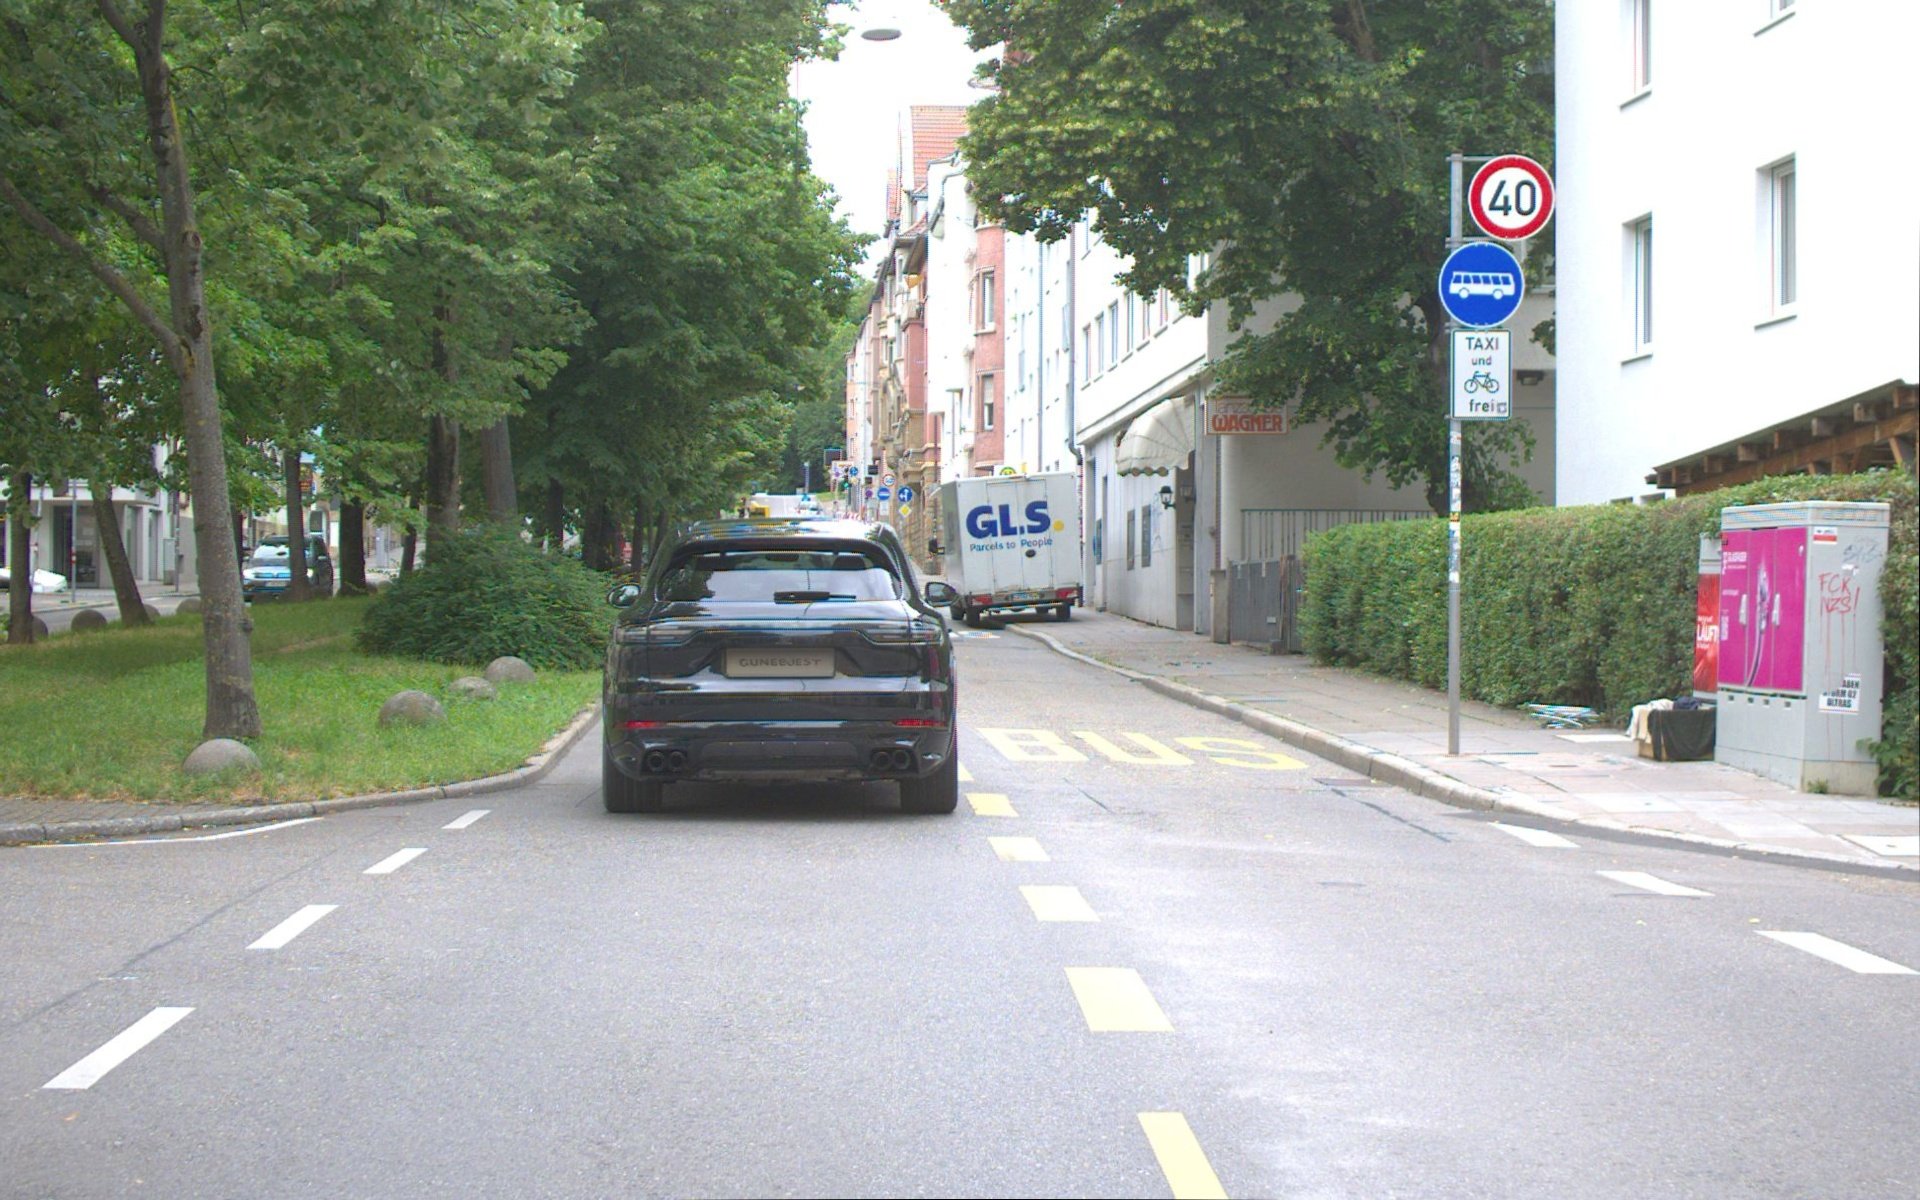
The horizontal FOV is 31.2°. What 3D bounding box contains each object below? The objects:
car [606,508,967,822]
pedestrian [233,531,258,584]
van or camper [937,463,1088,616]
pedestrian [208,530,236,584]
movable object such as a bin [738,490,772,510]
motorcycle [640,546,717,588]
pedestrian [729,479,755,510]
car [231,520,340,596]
[{"bbox_3d":[-1.084,0.317,20.307,1.903,1.660,4.136,0,1,-5],"label":"car"},{"bbox_3d":[-21.953,-1.304,105.641,0.662,1.610,0.579,1,1,-1],"label":"pedestrian"},{"bbox_3d":[0.940,-1.160,66.596,2.480,2.793,7.239,0,1,-2],"label":"van or camper"},{"bbox_3d":[-22.253,-1.294,103.697,0.634,1.607,0.764,1,1,3],"label":"pedestrian"},{"bbox_3d":[-13.138,-6.399,220.230,1.845,1.270,1.238,1,1,44],"label":"movable object such as a bin"},{"bbox_3d":[-8.702,-1.026,106.341,2.355,1.231,1.034,0,2,-4],"label":"motorcycle"},{"bbox_3d":[-14.041,-6.778,221.244,1.302,2.007,1.019,0,1,-43],"label":"pedestrian"},{"bbox_3d":[-16.633,-1.044,84.926,1.948,1.623,4.365,-6,1,-4],"label":"car"}]
